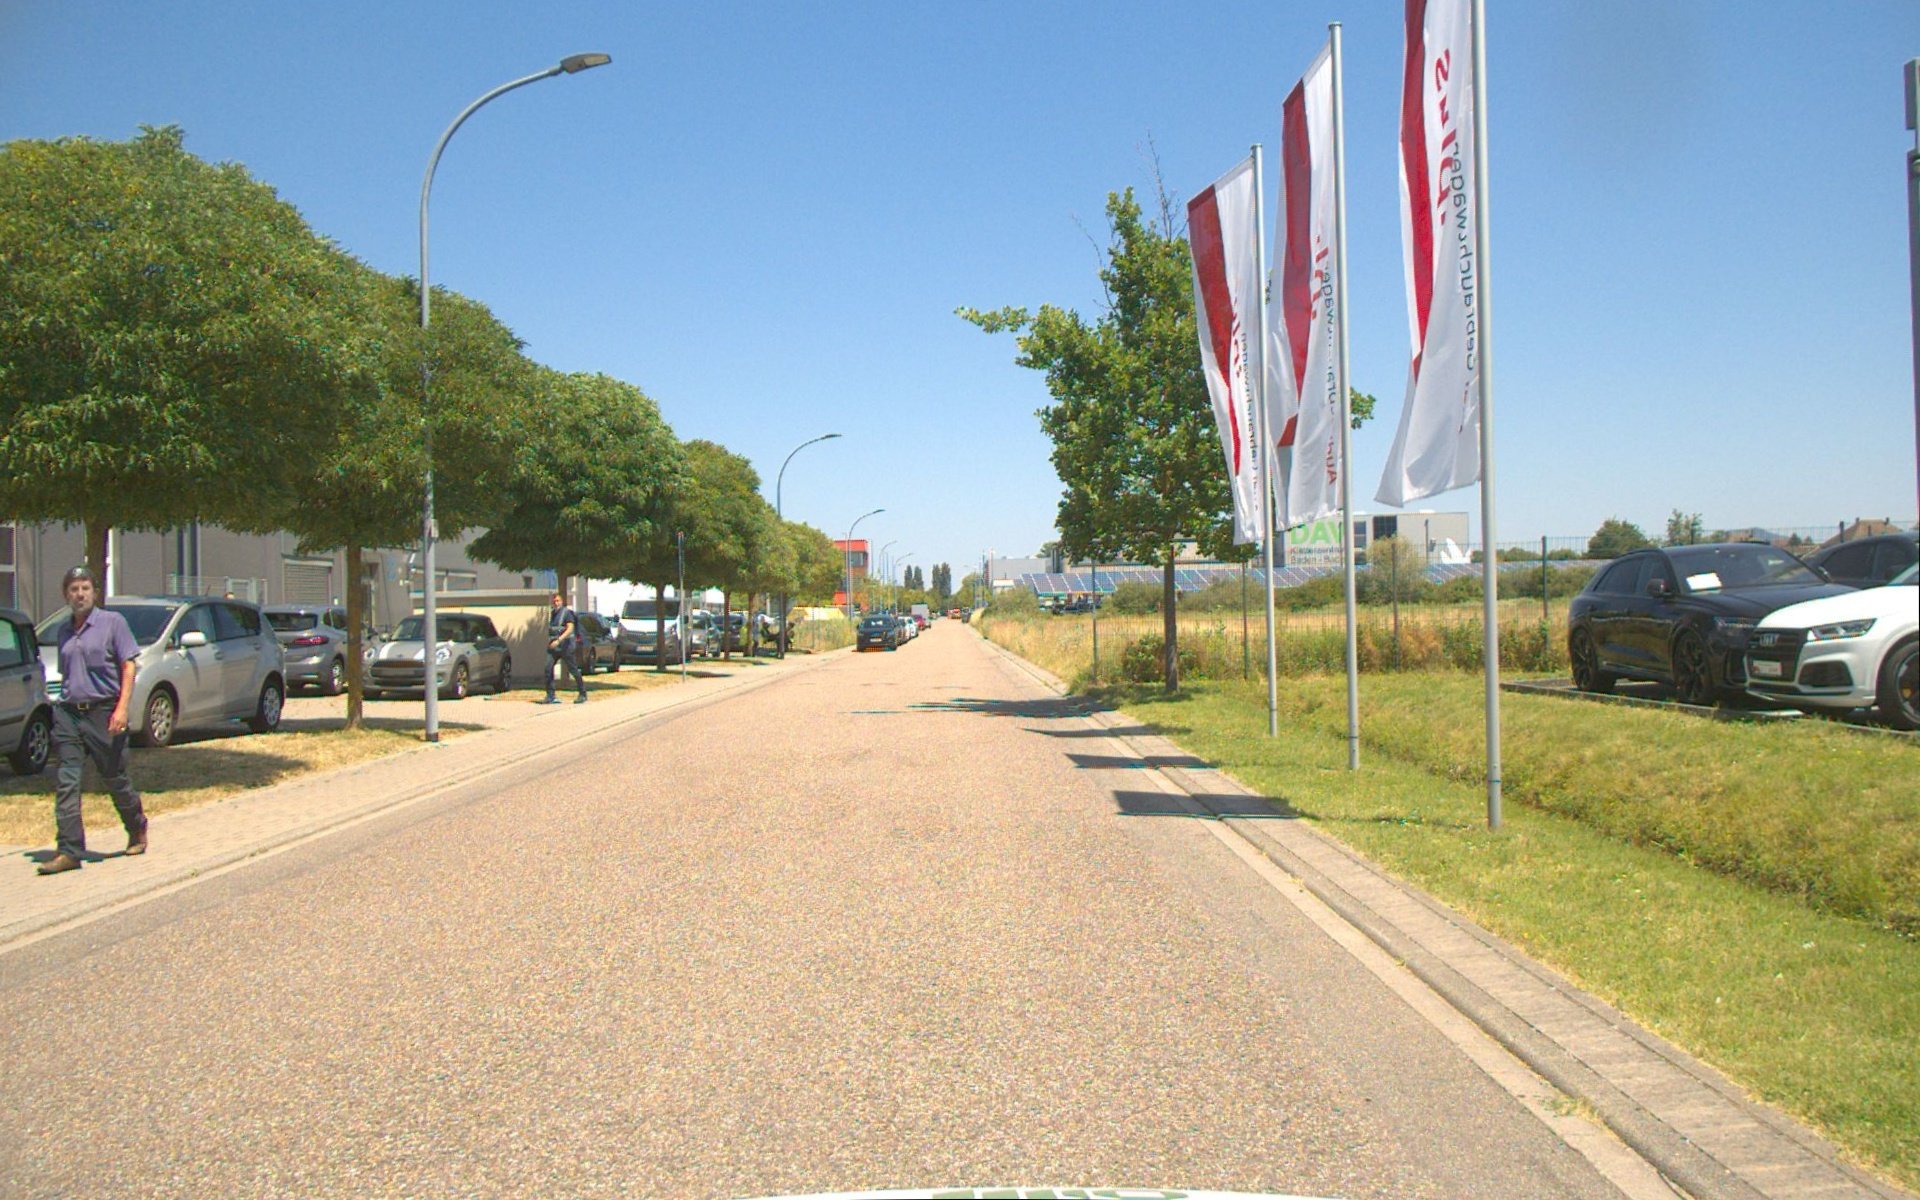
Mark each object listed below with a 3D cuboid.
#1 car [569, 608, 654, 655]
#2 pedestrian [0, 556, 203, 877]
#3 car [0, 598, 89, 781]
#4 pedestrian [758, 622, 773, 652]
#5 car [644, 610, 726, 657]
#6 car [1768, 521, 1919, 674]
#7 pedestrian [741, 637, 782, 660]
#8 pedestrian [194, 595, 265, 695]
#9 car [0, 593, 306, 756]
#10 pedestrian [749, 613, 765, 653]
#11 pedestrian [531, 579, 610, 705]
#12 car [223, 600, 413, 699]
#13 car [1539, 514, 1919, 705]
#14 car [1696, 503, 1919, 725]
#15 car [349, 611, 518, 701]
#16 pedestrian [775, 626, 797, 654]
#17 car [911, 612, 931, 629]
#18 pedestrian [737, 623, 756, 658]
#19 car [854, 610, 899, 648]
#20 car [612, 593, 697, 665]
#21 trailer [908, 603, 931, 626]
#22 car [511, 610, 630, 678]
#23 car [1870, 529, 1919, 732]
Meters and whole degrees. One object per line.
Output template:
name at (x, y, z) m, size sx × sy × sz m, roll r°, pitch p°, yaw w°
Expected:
car at (-11.767, 1.043, 56.163) m, size 1.887 × 1.490 × 4.465 m, roll 1°, pitch 0°, yaw 0°
pedestrian at (-5.257, 0.669, 10.073) m, size 0.729 × 1.833 × 1.135 m, roll 1°, pitch 0°, yaw 1°
car at (-8.832, 0.763, 13.577) m, size 1.650 × 1.526 × 3.700 m, roll -1°, pitch 0°, yaw -5°
pedestrian at (-8.008, 1.529, 68.185) m, size 0.495 × 1.212 × 0.753 m, roll 1°, pitch -1°, yaw 2°
car at (-9.260, 1.162, 56.065) m, size 1.887 × 1.466 × 4.841 m, roll -2°, pitch -2°, yaw 0°
car at (11.240, -0.075, 18.557) m, size 1.983 × 1.638 × 4.809 m, roll -3°, pitch 0°, yaw 1°
pedestrian at (-6.992, 1.704, 58.382) m, size 1.330 × 0.762 × 0.753 m, roll 1°, pitch -1°, yaw 2°
pedestrian at (-13.014, 0.790, 29.487) m, size 0.823 × 1.743 × 0.964 m, roll 0°, pitch -1°, yaw -1°
car at (-9.113, 0.744, 18.557) m, size 1.729 × 1.601 × 4.539 m, roll 0°, pitch 0°, yaw 0°
pedestrian at (-8.198, 1.326, 66.706) m, size 0.495 × 1.623 × 0.753 m, roll 1°, pitch -1°, yaw 2°
pedestrian at (-6.344, 0.674, 26.971) m, size 0.827 × 2.007 × 0.960 m, roll 0°, pitch -1°, yaw 39°
car at (-11.487, 0.838, 29.909) m, size 1.699 × 1.656 × 4.348 m, roll 0°, pitch 0°, yaw 1°
car at (8.311, 0.099, 18.340) m, size 1.983 × 1.722 × 5.108 m, roll -3°, pitch 0°, yaw 1°
car at (9.047, 0.012, 14.270) m, size 4.438 × 1.722 × 2.030 m, roll -3°, pitch 0°, yaw -3°
car at (-9.246, 0.941, 29.380) m, size 1.729 × 1.479 × 3.840 m, roll 0°, pitch 0°, yaw 1°
pedestrian at (-7.070, 1.606, 67.179) m, size 0.735 × 1.118 × 0.647 m, roll 1°, pitch -1°, yaw 3°
car at (-3.697, 1.981, 157.404) m, size 1.750 × 1.547 × 3.982 m, roll -2°, pitch -1°, yaw 0°
pedestrian at (-7.308, 1.375, 56.621) m, size 0.468 × 1.170 × 0.555 m, roll 1°, pitch -3°, yaw 9°
car at (-3.740, 1.304, 74.683) m, size 1.888 × 1.595 × 4.188 m, roll -2°, pitch 0°, yaw -2°
car at (-9.241, 0.840, 50.404) m, size 1.800 × 2.054 × 5.123 m, roll 1°, pitch 0°, yaw -2°
trailer at (-4.095, 1.482, 168.755) m, size 2.156 × 2.175 × 4.285 m, roll -2°, pitch -1°, yaw 0°
car at (-9.214, 1.006, 39.489) m, size 1.729 × 1.479 × 4.713 m, roll -1°, pitch 0°, yaw 0°
car at (9.203, 0.097, 11.661) m, size 4.438 × 1.482 × 2.030 m, roll -3°, pitch 0°, yaw -3°
